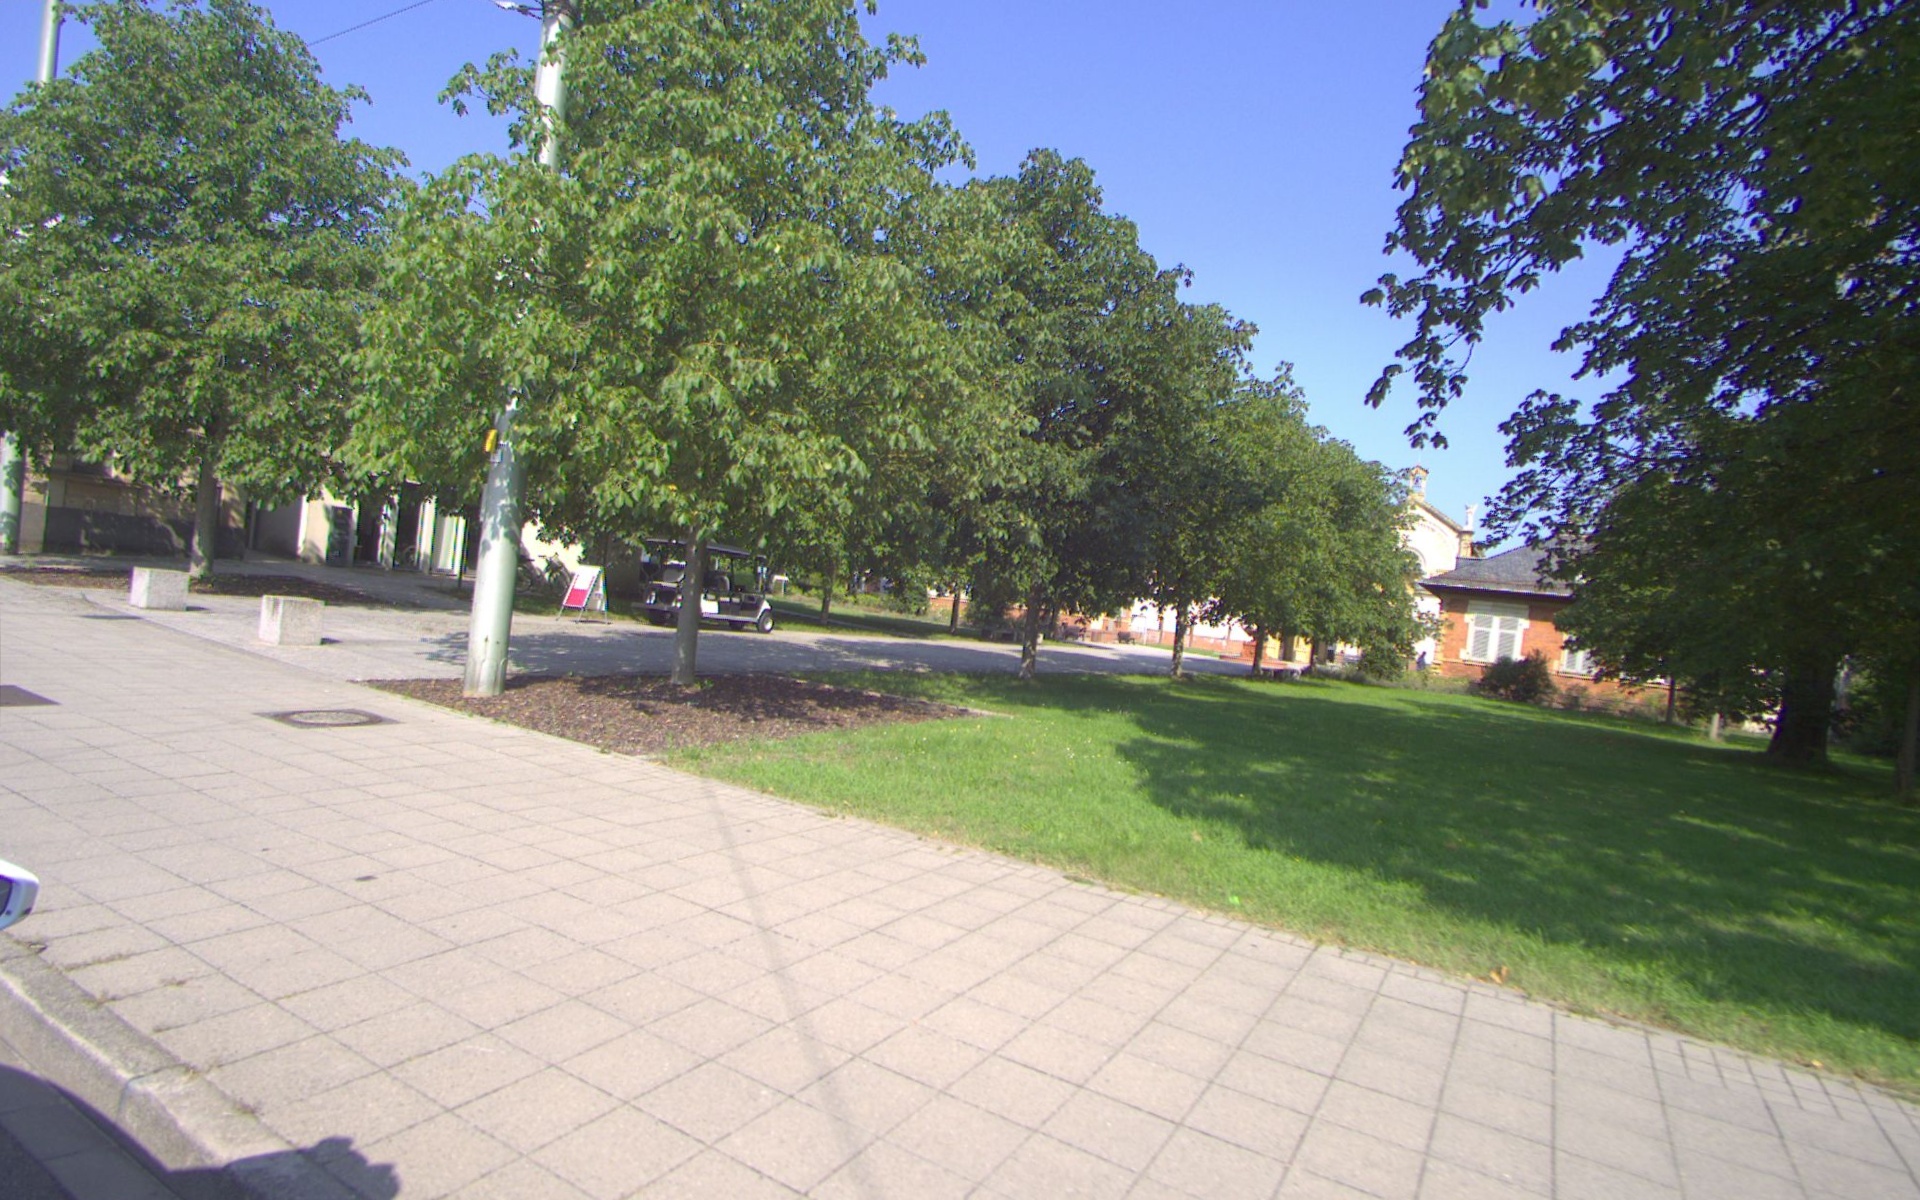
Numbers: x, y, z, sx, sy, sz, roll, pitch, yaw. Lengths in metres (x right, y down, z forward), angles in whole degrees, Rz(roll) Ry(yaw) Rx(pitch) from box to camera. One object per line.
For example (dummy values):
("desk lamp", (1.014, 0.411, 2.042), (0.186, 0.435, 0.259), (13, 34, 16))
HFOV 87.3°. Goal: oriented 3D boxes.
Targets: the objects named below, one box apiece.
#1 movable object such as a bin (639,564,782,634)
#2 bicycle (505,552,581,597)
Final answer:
("movable object such as a bin", (-5.685, 0.014, 23.176), (1.279, 1.314, 3.109), (7, 1, 31))
("bicycle", (-11.079, -0.658, 26.797), (0.420, 0.992, 1.906), (7, 0, 31))
